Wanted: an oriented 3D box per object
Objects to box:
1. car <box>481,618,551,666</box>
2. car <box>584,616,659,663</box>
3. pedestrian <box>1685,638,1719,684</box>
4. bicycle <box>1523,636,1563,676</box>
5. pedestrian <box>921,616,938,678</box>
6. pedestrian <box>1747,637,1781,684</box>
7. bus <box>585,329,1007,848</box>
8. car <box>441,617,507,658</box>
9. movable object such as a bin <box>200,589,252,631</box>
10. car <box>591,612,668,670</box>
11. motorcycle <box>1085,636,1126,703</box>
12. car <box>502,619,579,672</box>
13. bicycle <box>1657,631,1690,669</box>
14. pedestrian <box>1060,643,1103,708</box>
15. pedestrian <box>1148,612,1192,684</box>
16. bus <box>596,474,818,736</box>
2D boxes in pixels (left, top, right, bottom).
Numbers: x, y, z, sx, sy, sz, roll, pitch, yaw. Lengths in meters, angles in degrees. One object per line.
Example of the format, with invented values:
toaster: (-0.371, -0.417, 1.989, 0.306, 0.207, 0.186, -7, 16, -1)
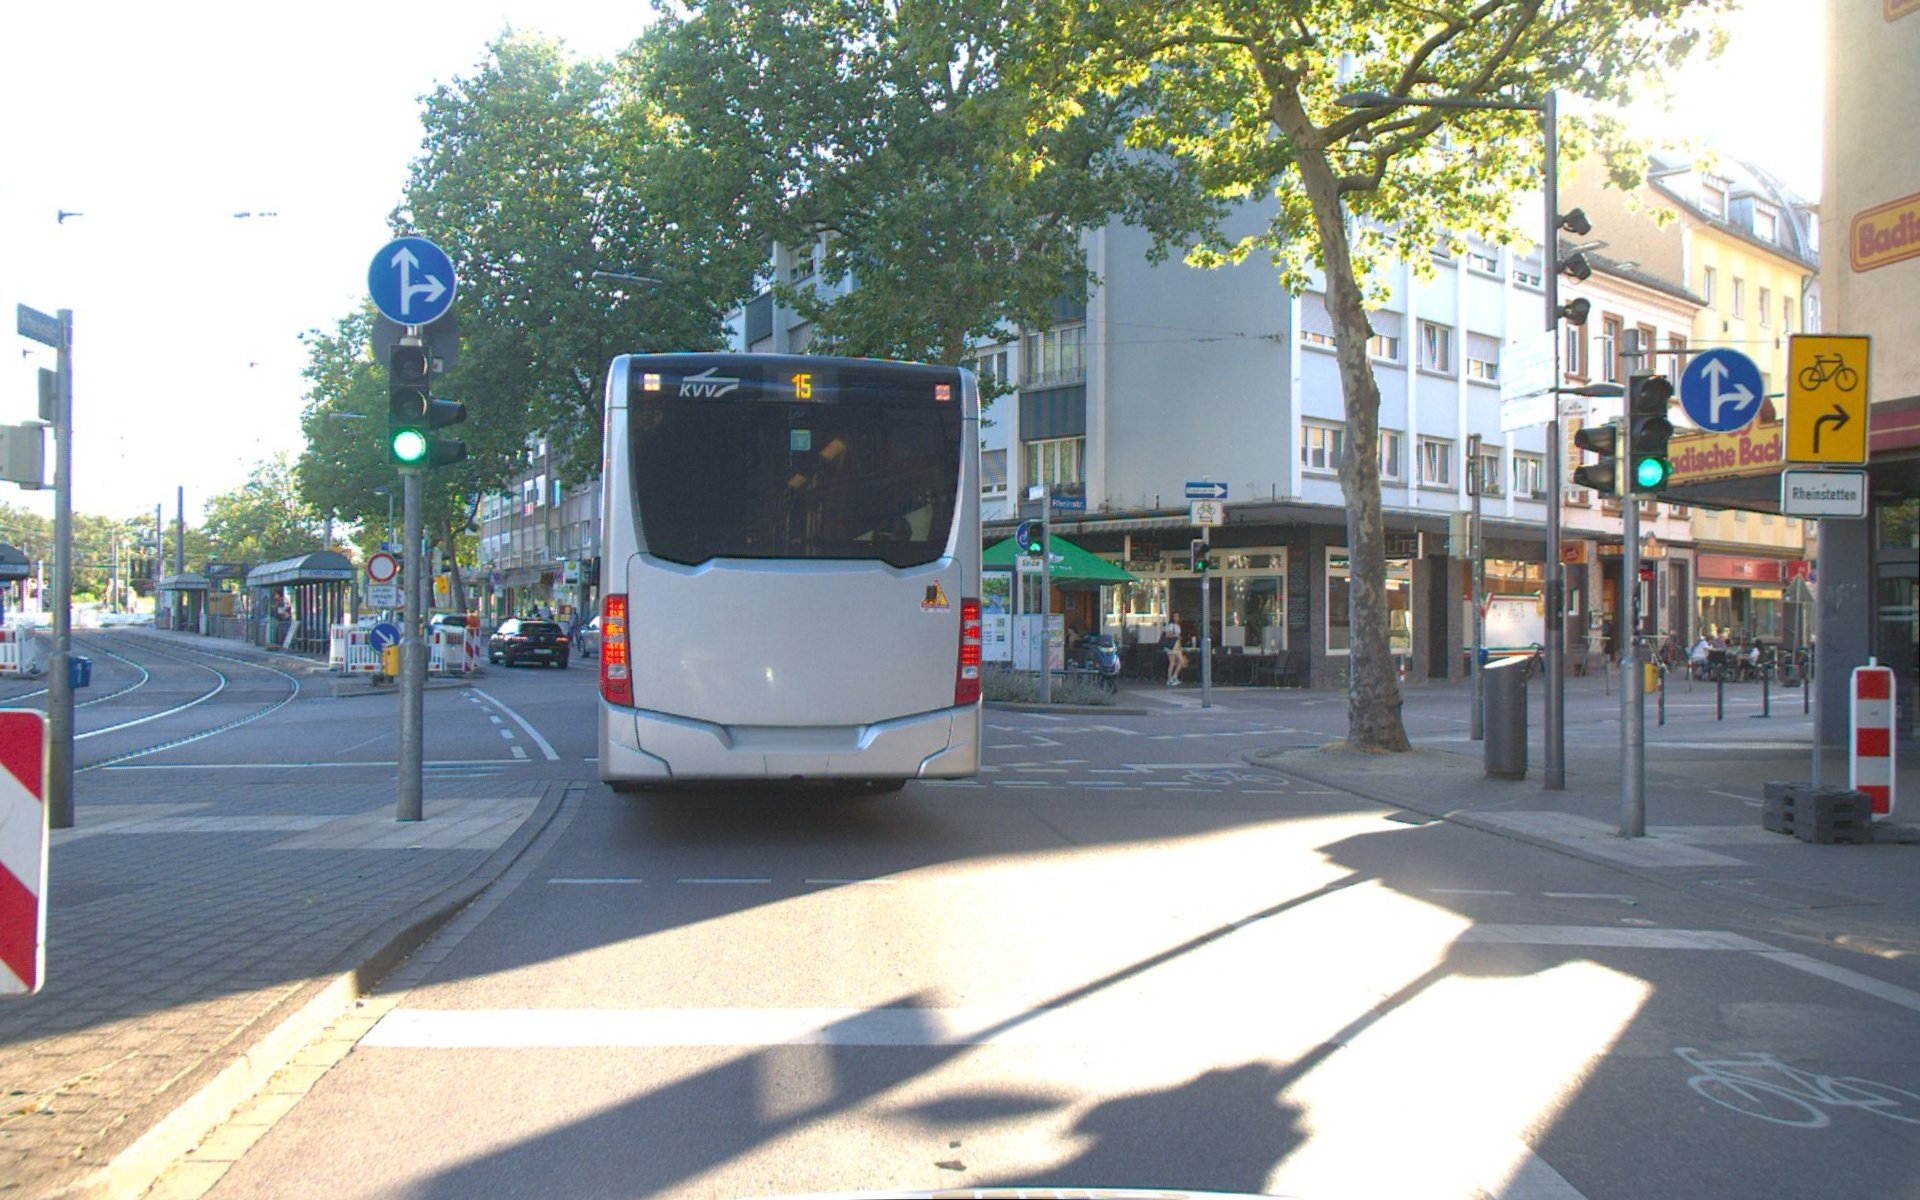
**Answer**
car: (-14.421, 1.349, 53.602, 1.731, 1.490, 3.974, 1, -1, -21)
car: (-11.845, 1.341, 57.747, 1.643, 1.494, 3.381, -3, 1, -28)
pedestrian: (20.985, 1.725, 46.766, 0.540, 1.265, 0.731, 2, -1, -9)
bicycle: (15.581, 1.492, 44.178, 0.290, 1.059, 1.706, -3, -4, 44)
pedestrian: (-0.865, 1.331, 46.962, 0.352, 1.748, 0.307, 2, -1, -19)
pedestrian: (22.193, 1.678, 45.656, 0.682, 1.265, 0.594, 1, -1, 43)
bus: (-1.993, 0.027, 15.311, 2.611, 3.153, 10.185, 1, -1, -12)
car: (-18.228, 1.379, 61.949, 1.734, 1.490, 3.966, 1, -1, -26)
movable object such as a bin: (-45.706, 0.638, 102.968, 2.467, 2.520, 5.302, 1, -1, -30)
car: (-9.938, 1.217, 49.554, 1.734, 1.656, 3.590, 1, -1, -20)
motorcycle: (2.651, 1.250, 30.206, 0.558, 1.178, 1.460, 2, -1, -1)
car: (-12.445, 1.323, 48.957, 1.731, 1.490, 3.974, 1, -1, -21)
bicycle: (21.778, 1.521, 50.476, 0.290, 1.058, 1.706, -3, -1, 44)
pedestrian: (2.451, 1.514, 33.413, 0.543, 1.265, 0.727, 3, -1, -24)
pedestrian: (4.701, 1.082, 37.005, 0.599, 1.575, 0.705, 3, -1, -43)
bus: (-4.162, 0.158, 25.200, 2.612, 3.153, 10.181, 1, -1, -13)
